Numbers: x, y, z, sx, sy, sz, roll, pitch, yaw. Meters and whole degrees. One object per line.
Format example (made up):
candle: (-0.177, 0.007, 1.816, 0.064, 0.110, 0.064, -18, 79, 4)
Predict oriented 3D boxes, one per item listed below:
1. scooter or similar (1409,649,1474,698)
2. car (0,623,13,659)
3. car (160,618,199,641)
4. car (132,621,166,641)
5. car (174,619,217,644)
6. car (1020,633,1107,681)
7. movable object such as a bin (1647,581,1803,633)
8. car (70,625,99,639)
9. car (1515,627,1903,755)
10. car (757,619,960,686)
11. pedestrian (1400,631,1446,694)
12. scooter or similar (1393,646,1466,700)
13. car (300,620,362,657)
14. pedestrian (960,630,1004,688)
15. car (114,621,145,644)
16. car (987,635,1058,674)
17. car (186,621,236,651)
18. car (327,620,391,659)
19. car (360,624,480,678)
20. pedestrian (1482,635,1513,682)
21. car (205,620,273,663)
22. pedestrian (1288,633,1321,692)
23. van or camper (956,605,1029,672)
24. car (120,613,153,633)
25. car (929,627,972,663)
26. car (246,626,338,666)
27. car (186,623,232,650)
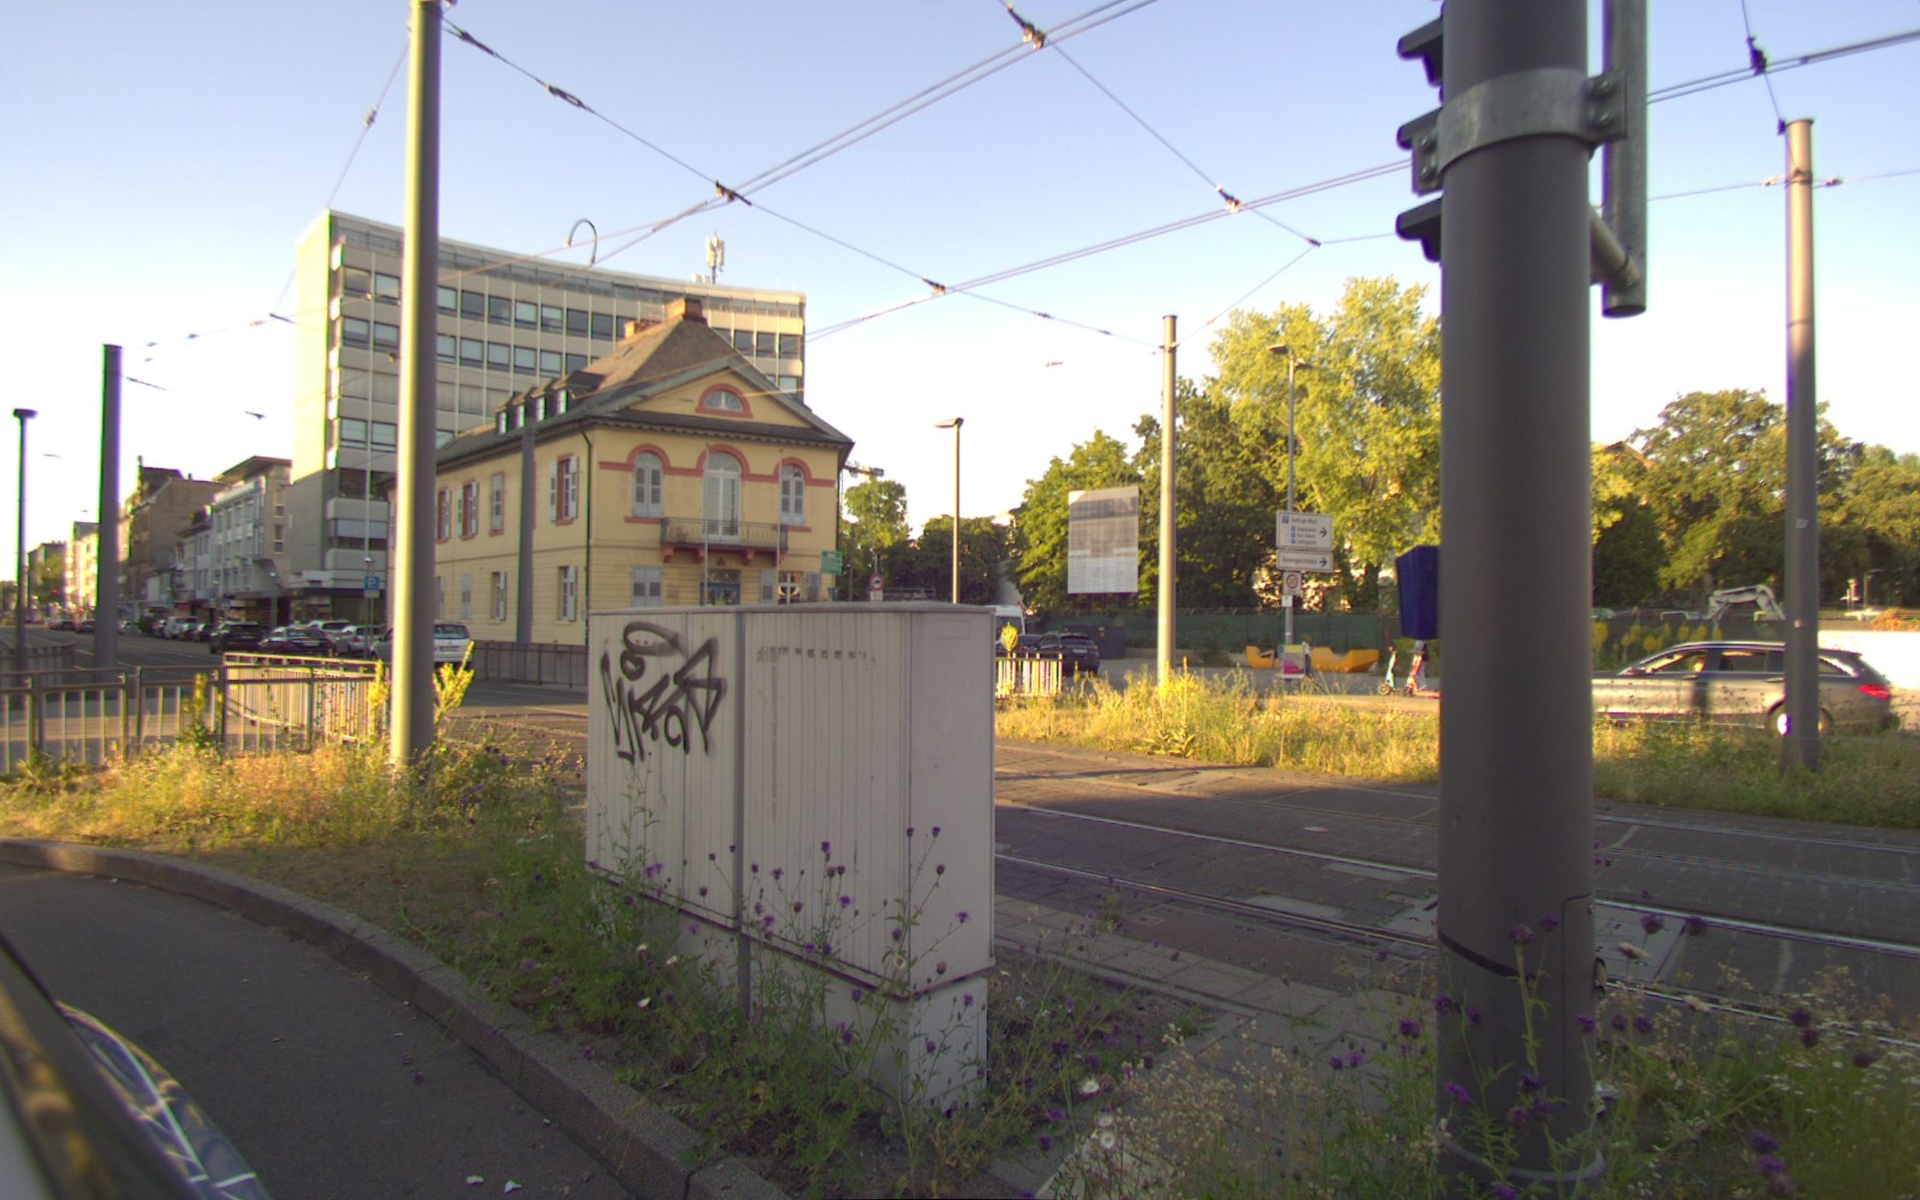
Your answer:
scooter or similar: (11.831, 1.803, 24.879, 1.383, 1.175, 0.461, 1, -2, -3)
car: (-43.303, 1.779, 44.207, 1.966, 1.586, 4.315, 2, -2, -32)
car: (-65.897, 2.487, 85.431, 4.000, 1.962, 1.972, -1, -3, 43)
car: (-79.755, 3.041, 99.470, 4.000, 1.962, 1.972, -1, -3, 43)
car: (-60.760, 2.492, 80.429, 4.000, 1.962, 1.972, -1, -3, 43)
car: (3.558, 1.941, 35.459, 1.754, 1.555, 4.301, 1, -2, -12)
movable object such as a bin: (32.255, 0.363, 42.899, 1.966, 2.029, 5.039, 1, -2, -18)
car: (-95.829, 3.481, 110.721, 3.998, 1.519, 1.824, -1, -3, 41)
car: (10.958, 1.219, 15.055, 4.413, 1.528, 1.972, -1, 0, 42)
car: (-2.347, 1.188, 23.474, 4.306, 1.421, 1.902, 0, -2, 21)
pedestrian: (13.010, 1.740, 28.460, 0.865, 1.737, 0.830, 2, -2, -6)
scooter or similar: (11.758, 1.826, 25.358, 1.629, 1.302, 0.461, 1, -2, -3)
car: (-31.436, 1.903, 50.564, 3.807, 1.721, 1.712, -1, -2, 44)
pedestrian: (0.588, 1.561, 27.113, 1.028, 1.514, 1.006, 1, -2, -8)
car: (-89.375, 3.506, 108.947, 4.000, 2.394, 1.972, -1, -3, 43)
car: (2.399, 2.118, 40.055, 1.706, 1.440, 4.483, 2, -2, -11)
car: (-50.833, 2.418, 68.684, 4.000, 1.962, 1.972, -1, -3, 43)
car: (-27.779, 1.796, 46.748, 3.440, 1.721, 1.712, -1, -3, 44)
car: (-17.048, 1.564, 31.879, 4.066, 1.610, 1.817, -1, -2, 38)
pedestrian: (19.810, 2.143, 37.324, 0.810, 1.678, 0.765, 2, -3, -42)
car: (-35.891, 2.040, 50.346, 4.120, 2.005, 1.971, -1, -3, 44)
pedestrian: (9.624, 1.743, 28.267, 0.679, 1.626, 0.597, 2, -3, -40)
van or camper: (1.368, 1.758, 46.043, 2.050, 2.796, 6.462, 1, -2, -9)
car: (-84.010, 2.334, 103.178, 3.998, 2.029, 1.973, -1, 0, 41)
car: (-0.549, 2.455, 55.988, 1.690, 1.863, 4.030, 2, -2, -10)
car: (-25.804, 1.756, 39.033, 4.657, 1.439, 1.990, -1, -3, 44)
car: (-56.022, 2.706, 75.454, 4.000, 1.962, 1.972, -1, -3, 43)
